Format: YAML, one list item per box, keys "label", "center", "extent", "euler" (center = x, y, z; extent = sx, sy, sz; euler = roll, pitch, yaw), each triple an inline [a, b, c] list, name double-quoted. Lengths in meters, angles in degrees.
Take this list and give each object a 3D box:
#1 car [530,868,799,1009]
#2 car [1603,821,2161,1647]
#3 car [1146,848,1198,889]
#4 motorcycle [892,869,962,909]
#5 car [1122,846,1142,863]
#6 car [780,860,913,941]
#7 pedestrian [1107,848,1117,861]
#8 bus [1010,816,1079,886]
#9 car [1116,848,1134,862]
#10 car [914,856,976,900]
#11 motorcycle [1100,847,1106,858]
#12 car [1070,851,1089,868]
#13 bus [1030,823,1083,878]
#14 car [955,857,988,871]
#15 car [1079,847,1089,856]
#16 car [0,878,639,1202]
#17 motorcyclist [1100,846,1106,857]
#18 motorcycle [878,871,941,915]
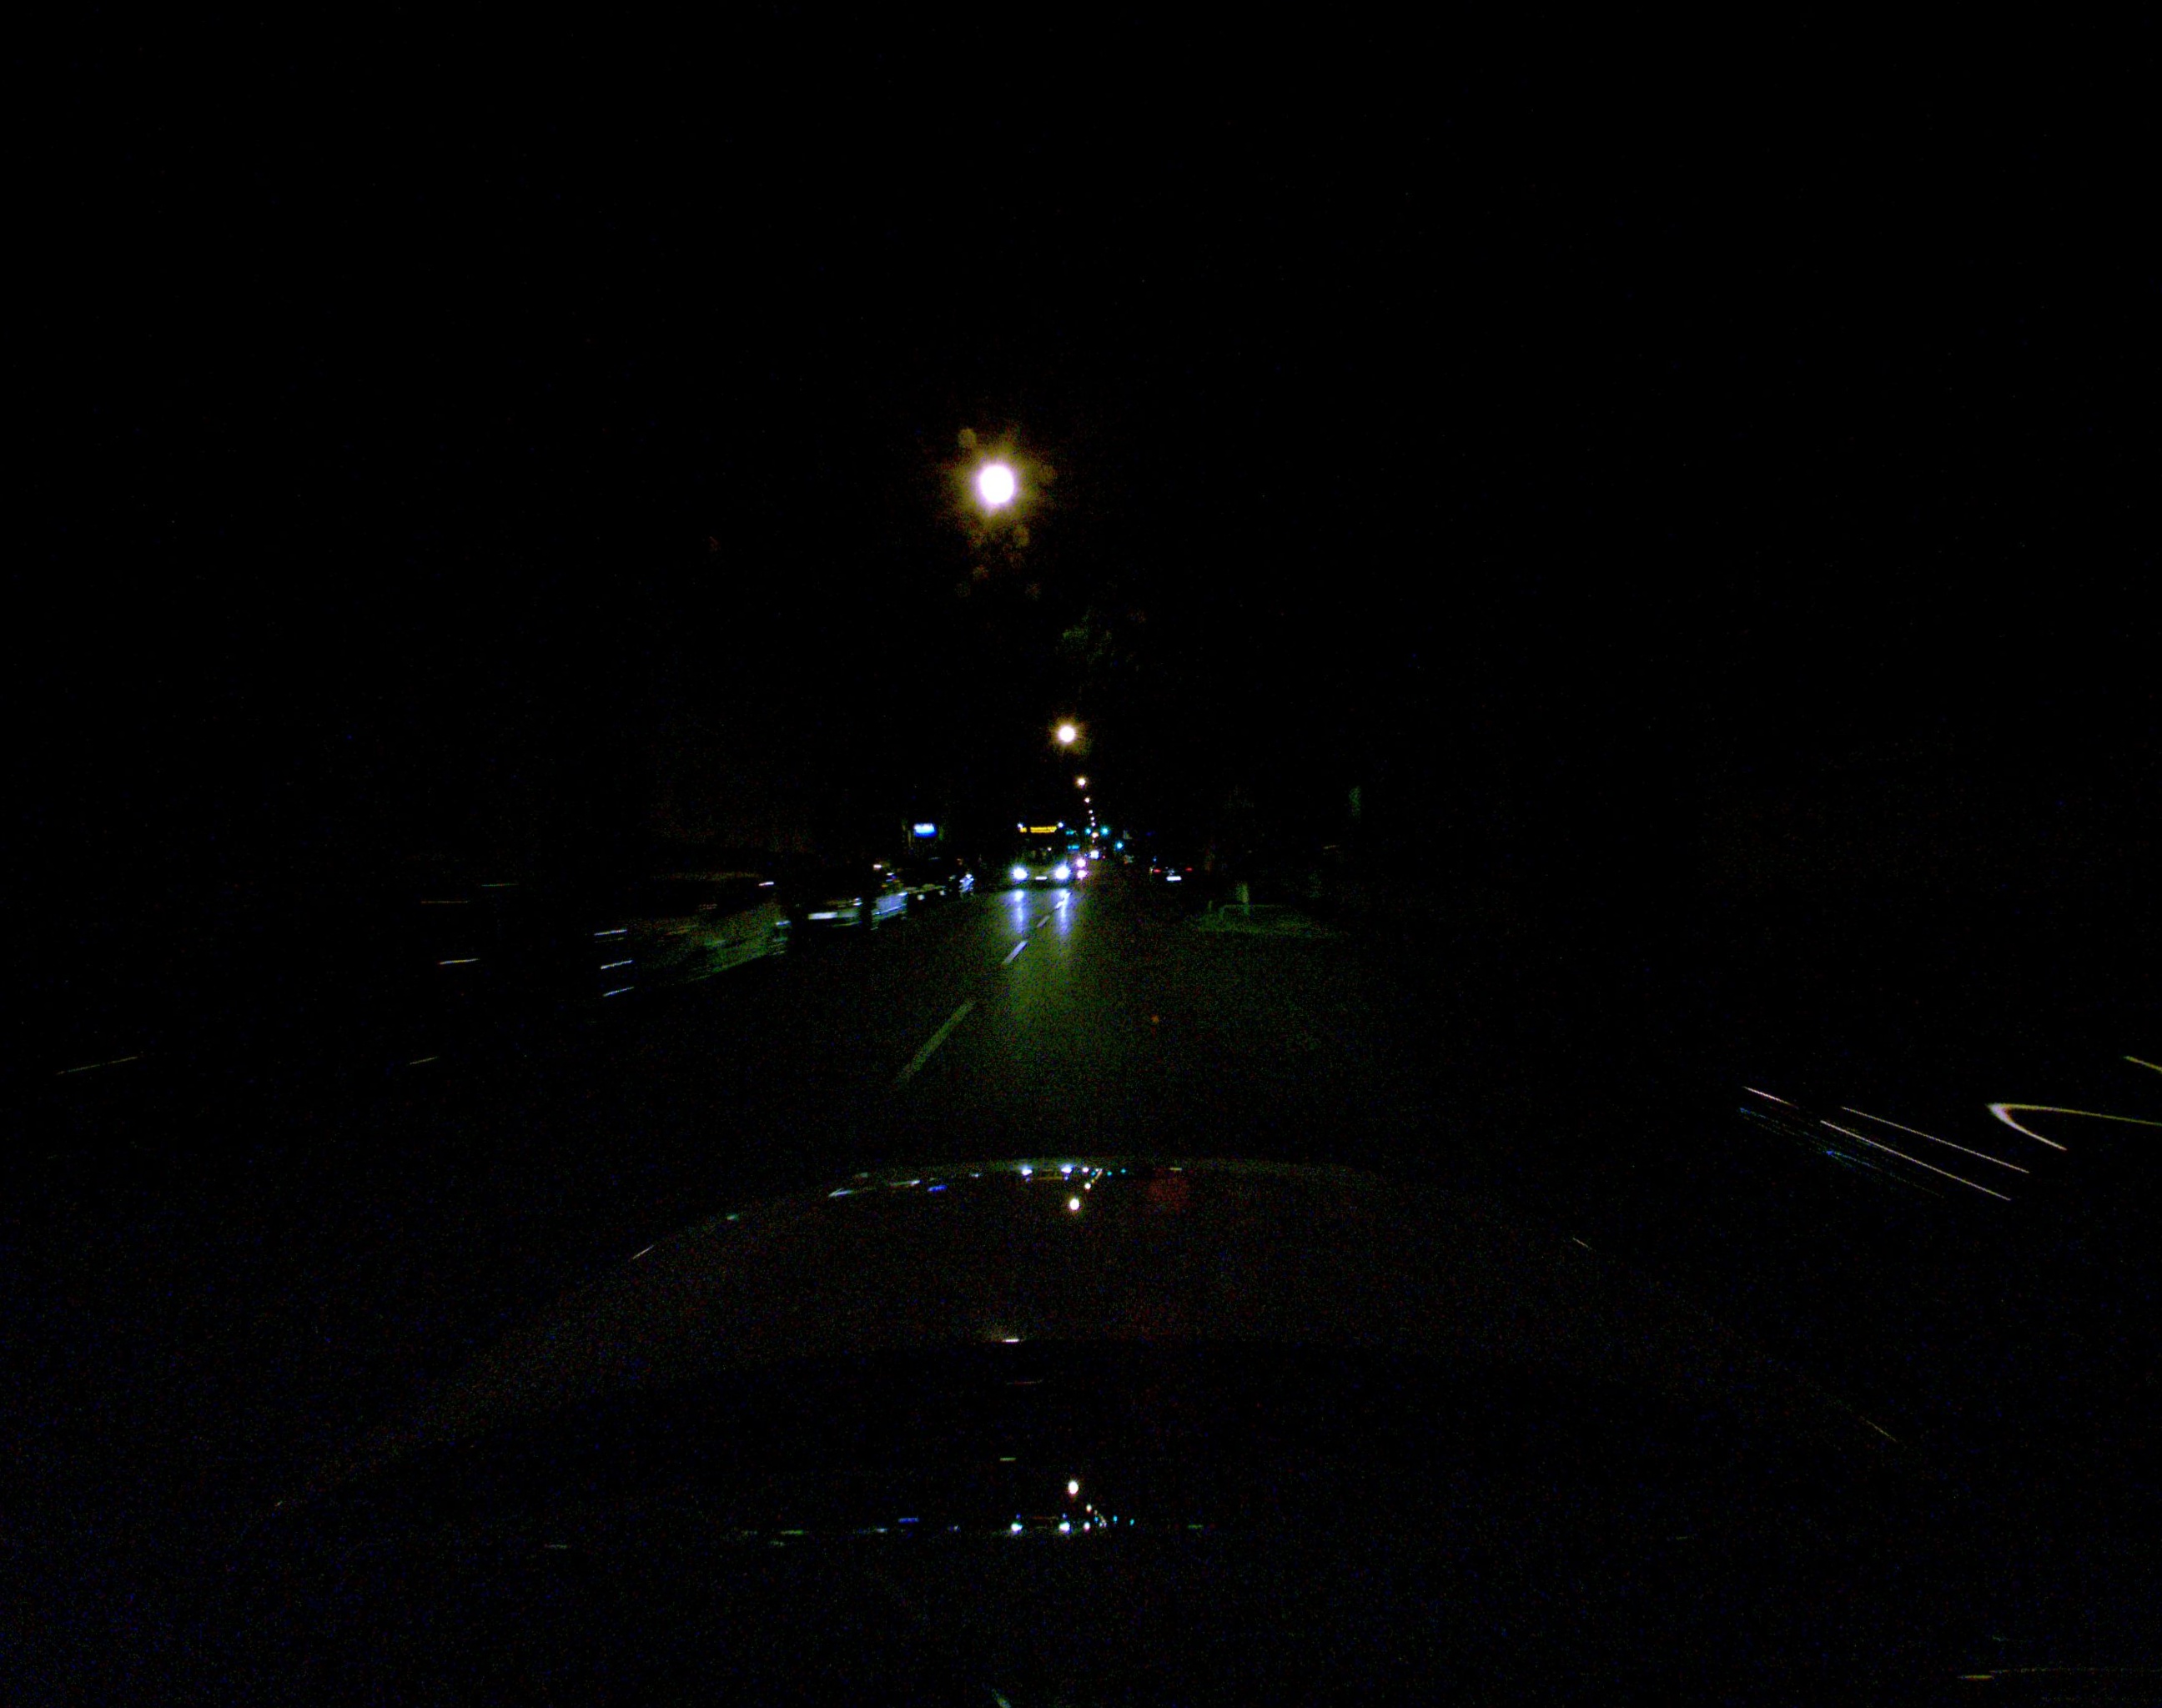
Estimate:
- label: "car"
  center: [-5.297, 0.973, 10.963]
  extent: [1.616, 1.491, 3.780]
  euler: [-1, -1, 1]
- label: "car"
  center: [2.774, 0.652, 0.931]
  extent: [1.765, 1.448, 4.020]
  euler: [-3, 0, 1]
- label: "car"
  center: [3.713, 0.537, 33.831]
  extent: [1.756, 1.476, 4.082]
  euler: [-4, 1, 2]
- label: "motorcycle"
  center: [-4.742, 1.076, 24.961]
  extent: [2.180, 1.131, 0.720]
  euler: [-2, 0, 34]
- label: "car"
  center: [5.115, 0.007, 82.537]
  extent: [1.805, 1.594, 4.275]
  euler: [-4, 1, 1]
- label: "car"
  center: [-5.209, 0.962, 18.680]
  extent: [1.698, 1.491, 4.228]
  euler: [-4, 0, 1]
- label: "pedestrian"
  center: [4.011, 0.029, 105.705]
  extent: [0.930, 1.699, 0.759]
  euler: [1, 0, -31]
- label: "bus"
  center: [-1.706, -0.195, 42.880]
  extent: [2.827, 3.177, 10.502]
  euler: [-1, 0, 1]
- label: "car"
  center: [5.153, 0.097, 96.009]
  extent: [1.862, 1.526, 4.151]
  euler: [-4, 1, 1]
- label: "car"
  center: [-4.996, 0.875, 30.198]
  extent: [1.632, 1.498, 2.767]
  euler: [-2, -1, 3]
- label: "motorcycle"
  center: [3.667, -0.237, 134.770]
  extent: [0.927, 1.752, 2.625]
  euler: [-1, -1, 2]
- label: "car"
  center: [-0.095, 0.471, 74.601]
  extent: [1.640, 1.422, 3.870]
  euler: [-3, 0, 0]
- label: "bus"
  center: [-1.430, -0.254, 51.981]
  extent: [2.827, 3.177, 7.664]
  euler: [-1, 0, 2]
- label: "car"
  center: [-12.345, 1.133, 91.929]
  extent: [3.224, 1.453, 1.806]
  euler: [-2, -1, 33]
- label: "car"
  center: [0.682, -0.540, 174.108]
  extent: [1.937, 1.717, 4.001]
  euler: [-1, -1, 1]
- label: "car"
  center: [-5.468, 0.987, 6.142]
  extent: [1.857, 1.491, 4.280]
  euler: [-1, -1, 1]
- label: "motorcyclist"
  center: [3.660, -0.441, 134.780]
  extent: [0.845, 1.752, 0.806]
  euler: [-1, -1, 1]
- label: "motorcycle"
  center: [-4.847, 1.077, 22.943]
  extent: [0.720, 1.147, 2.182]
  euler: [-3, 1, -41]
